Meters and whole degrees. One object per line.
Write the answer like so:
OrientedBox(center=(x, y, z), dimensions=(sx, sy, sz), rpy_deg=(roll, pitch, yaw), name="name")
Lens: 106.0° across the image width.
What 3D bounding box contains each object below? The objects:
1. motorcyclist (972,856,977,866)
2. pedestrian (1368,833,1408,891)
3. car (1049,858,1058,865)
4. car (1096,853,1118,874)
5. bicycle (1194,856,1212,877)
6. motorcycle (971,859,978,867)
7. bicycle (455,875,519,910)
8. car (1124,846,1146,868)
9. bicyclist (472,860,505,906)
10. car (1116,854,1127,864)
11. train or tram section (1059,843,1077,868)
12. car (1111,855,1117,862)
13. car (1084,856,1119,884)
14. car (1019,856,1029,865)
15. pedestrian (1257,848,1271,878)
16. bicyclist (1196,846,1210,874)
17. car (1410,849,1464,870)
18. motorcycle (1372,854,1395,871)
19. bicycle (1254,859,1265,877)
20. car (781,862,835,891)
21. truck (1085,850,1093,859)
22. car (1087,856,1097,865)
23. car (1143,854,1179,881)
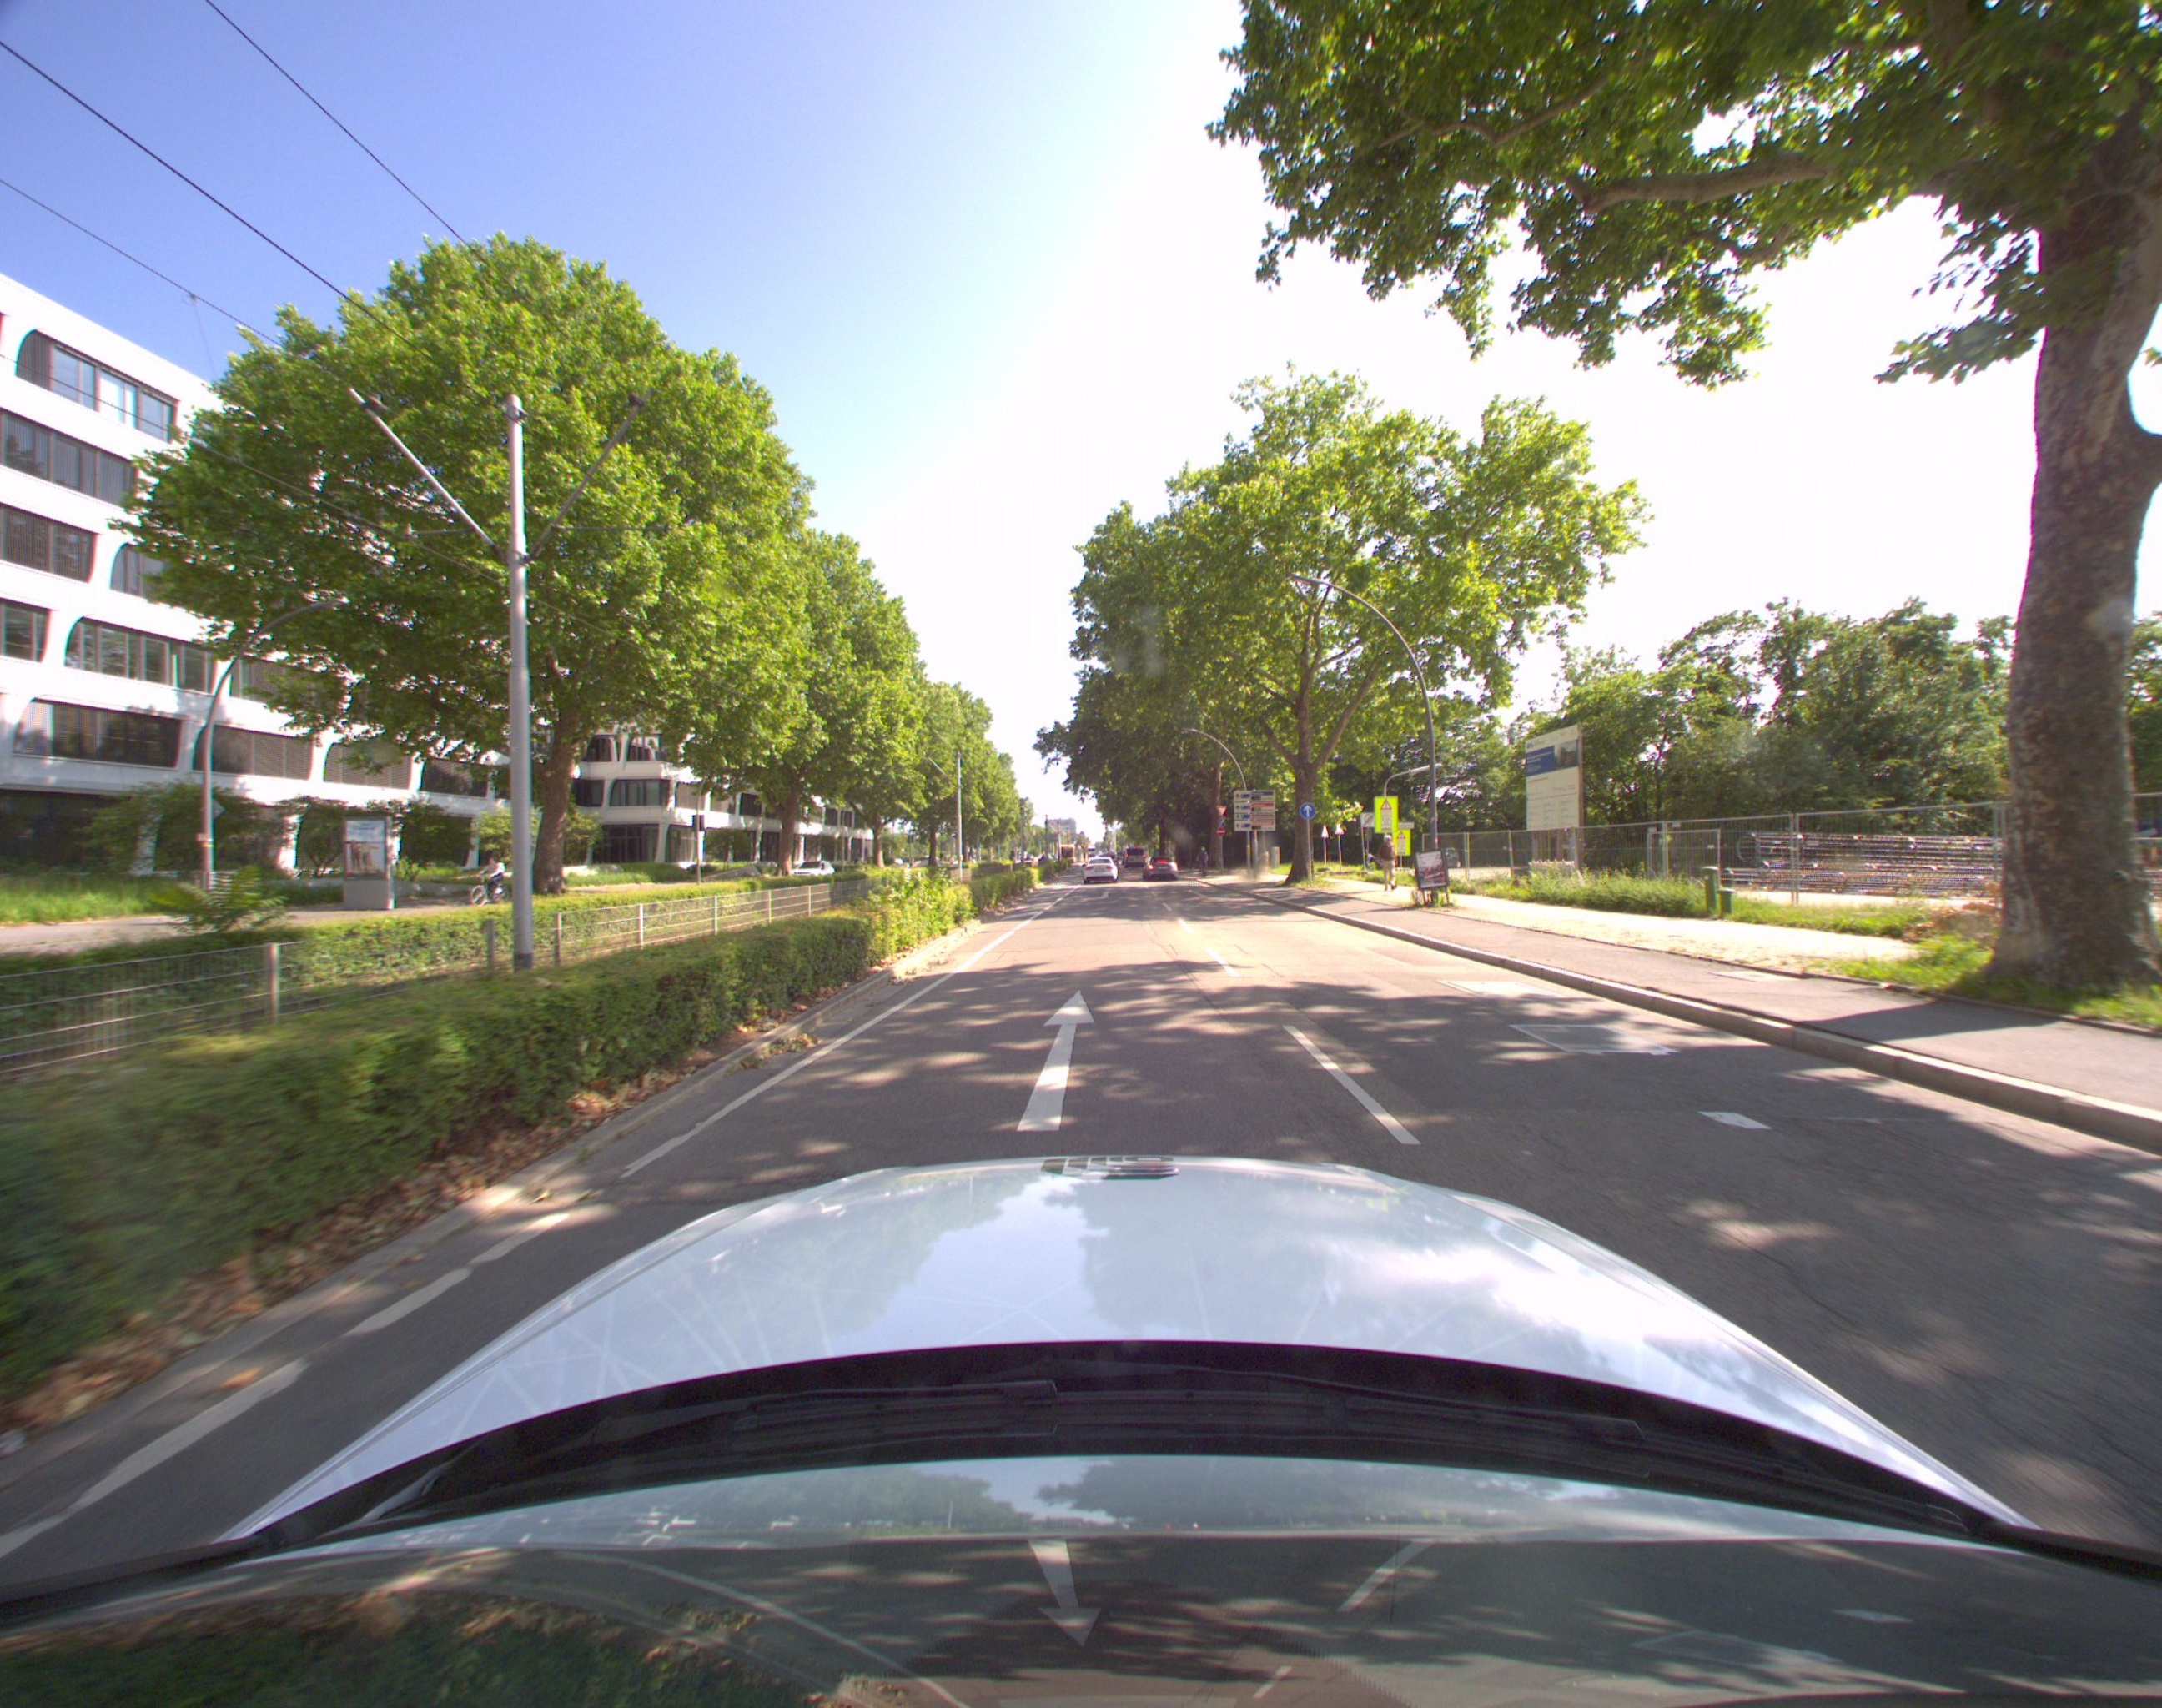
OrientedBox(center=(-15.145, 0.967, 115.993), dimensions=(0.578, 1.457, 0.533), rpy_deg=(-1, 0, 1), name="motorcyclist")
OrientedBox(center=(10.287, 0.249, 27.328), dimensions=(0.935, 1.892, 1.152), rpy_deg=(-1, 0, 2), name="pedestrian")
OrientedBox(center=(-7.059, 1.914, 208.116), dimensions=(1.986, 1.734, 4.002), rpy_deg=(-1, 0, 2), name="car")
OrientedBox(center=(2.083, 0.736, 65.865), dimensions=(1.723, 1.605, 3.887), rpy_deg=(-1, 0, 2), name="car")
OrientedBox(center=(7.363, 0.744, 49.126), dimensions=(0.712, 1.148, 2.179), rpy_deg=(-4, 2, 1), name="bicycle")
OrientedBox(center=(-15.139, 1.265, 115.984), dimensions=(0.630, 1.175, 2.001), rpy_deg=(-1, 0, 2), name="motorcycle")
OrientedBox(center=(-20.426, 1.295, 28.056), dimensions=(0.661, 1.124, 2.032), rpy_deg=(-1, 0, 2), name="bicycle")
OrientedBox(center=(5.655, 0.351, 86.047), dimensions=(2.221, 2.212, 4.164), rpy_deg=(-1, 0, 2), name="car")
OrientedBox(center=(-20.429, 0.993, 28.097), dimensions=(0.652, 1.535, 0.641), rpy_deg=(-1, 0, 2), name="bicyclist")
OrientedBox(center=(8.087, 0.944, 162.208), dimensions=(2.064, 1.999, 4.060), rpy_deg=(-1, 0, 2), name="car")
OrientedBox(center=(-2.120, 0.252, 140.013), dimensions=(2.606, 4.015, 7.753), rpy_deg=(-1, 0, 2), name="train or tram section")
OrientedBox(center=(8.574, 1.156, 212.281), dimensions=(1.723, 1.901, 4.002), rpy_deg=(-1, 0, 2), name="car")
OrientedBox(center=(1.127, 0.821, 44.099), dimensions=(1.778, 1.420, 3.887), rpy_deg=(-1, 0, 2), name="car")
OrientedBox(center=(-14.867, 1.645, 212.978), dimensions=(2.106, 2.383, 4.002), rpy_deg=(-1, 0, 2), name="car")
OrientedBox(center=(11.160, 0.555, 49.629), dimensions=(0.629, 1.785, 0.874), rpy_deg=(-1, 0, 1), name="pedestrian")
OrientedBox(center=(7.342, 0.348, 49.172), dimensions=(0.632, 1.648, 0.979), rpy_deg=(-4, 1, 1), name="bicyclist")
OrientedBox(center=(26.054, 0.419, 59.597), dimensions=(4.015, 1.454, 1.667), rpy_deg=(-1, 0, -33), name="car")
OrientedBox(center=(18.309, 0.523, 49.346), dimensions=(1.217, 0.967, 0.470), rpy_deg=(-1, 0, -6), name="motorcycle")
OrientedBox(center=(10.848, 0.858, 49.509), dimensions=(0.348, 1.082, 1.699), rpy_deg=(-1, 0, 2), name="bicycle")
OrientedBox(center=(-16.195, 1.298, 48.530), dimensions=(1.750, 1.570, 4.020), rpy_deg=(-1, 0, 2), name="car")
OrientedBox(center=(2.559, 0.219, 259.918), dimensions=(1.985, 2.790, 8.523), rpy_deg=(-1, 0, 2), name="truck")
OrientedBox(center=(2.084, 1.229, 149.741), dimensions=(1.723, 1.631, 4.002), rpy_deg=(-1, 0, 2), name="car")
OrientedBox(center=(4.520, 0.746, 46.454), dimensions=(1.775, 1.420, 4.002), rpy_deg=(-1, 0, 2), name="car")
